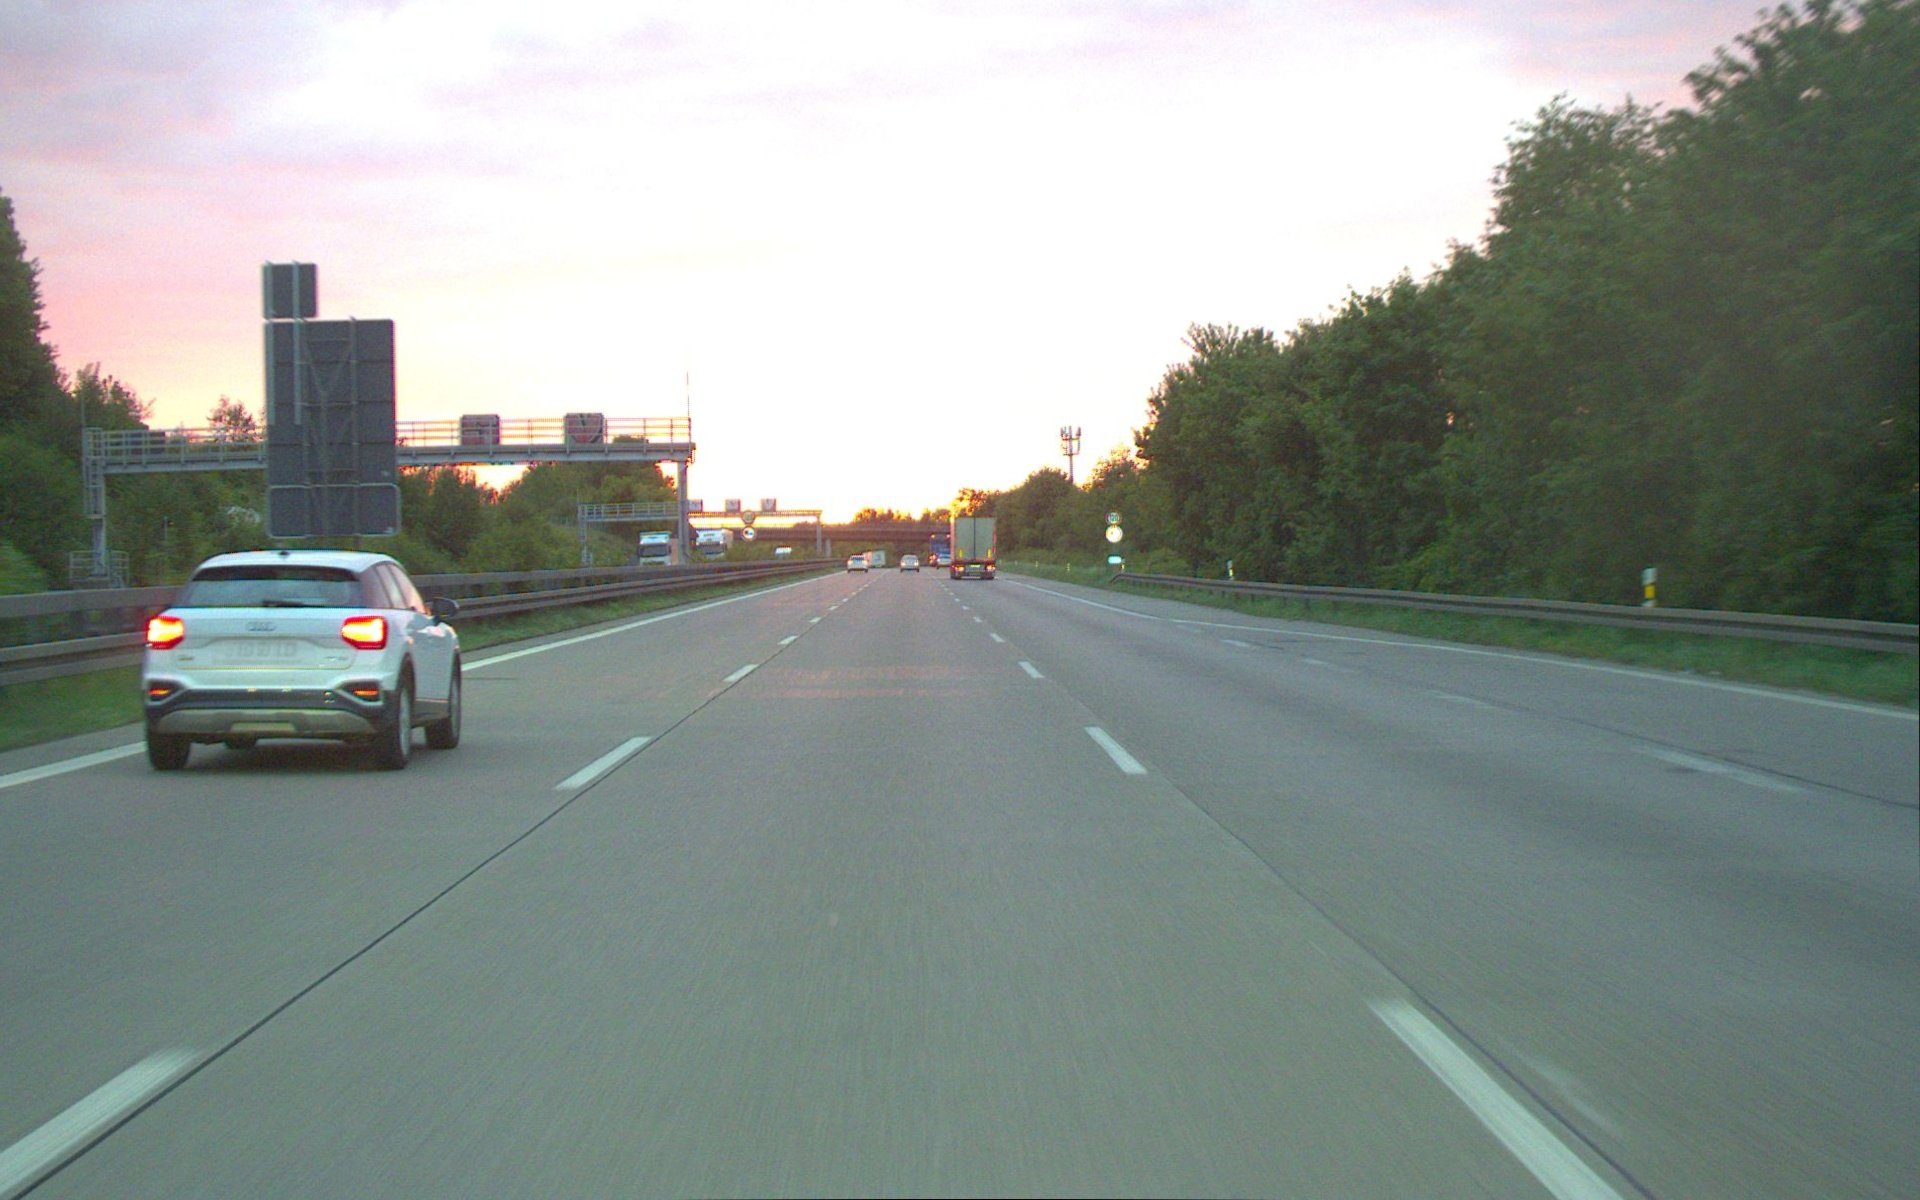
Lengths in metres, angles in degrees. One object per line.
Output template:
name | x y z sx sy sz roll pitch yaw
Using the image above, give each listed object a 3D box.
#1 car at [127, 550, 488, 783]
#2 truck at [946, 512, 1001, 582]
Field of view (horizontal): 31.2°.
car | -4.656 0.403 25.239 1.789 1.495 5.038 1 1 -1
truck | 0.804 -3.255 212.234 3.244 4.113 9.786 -1 1 0
